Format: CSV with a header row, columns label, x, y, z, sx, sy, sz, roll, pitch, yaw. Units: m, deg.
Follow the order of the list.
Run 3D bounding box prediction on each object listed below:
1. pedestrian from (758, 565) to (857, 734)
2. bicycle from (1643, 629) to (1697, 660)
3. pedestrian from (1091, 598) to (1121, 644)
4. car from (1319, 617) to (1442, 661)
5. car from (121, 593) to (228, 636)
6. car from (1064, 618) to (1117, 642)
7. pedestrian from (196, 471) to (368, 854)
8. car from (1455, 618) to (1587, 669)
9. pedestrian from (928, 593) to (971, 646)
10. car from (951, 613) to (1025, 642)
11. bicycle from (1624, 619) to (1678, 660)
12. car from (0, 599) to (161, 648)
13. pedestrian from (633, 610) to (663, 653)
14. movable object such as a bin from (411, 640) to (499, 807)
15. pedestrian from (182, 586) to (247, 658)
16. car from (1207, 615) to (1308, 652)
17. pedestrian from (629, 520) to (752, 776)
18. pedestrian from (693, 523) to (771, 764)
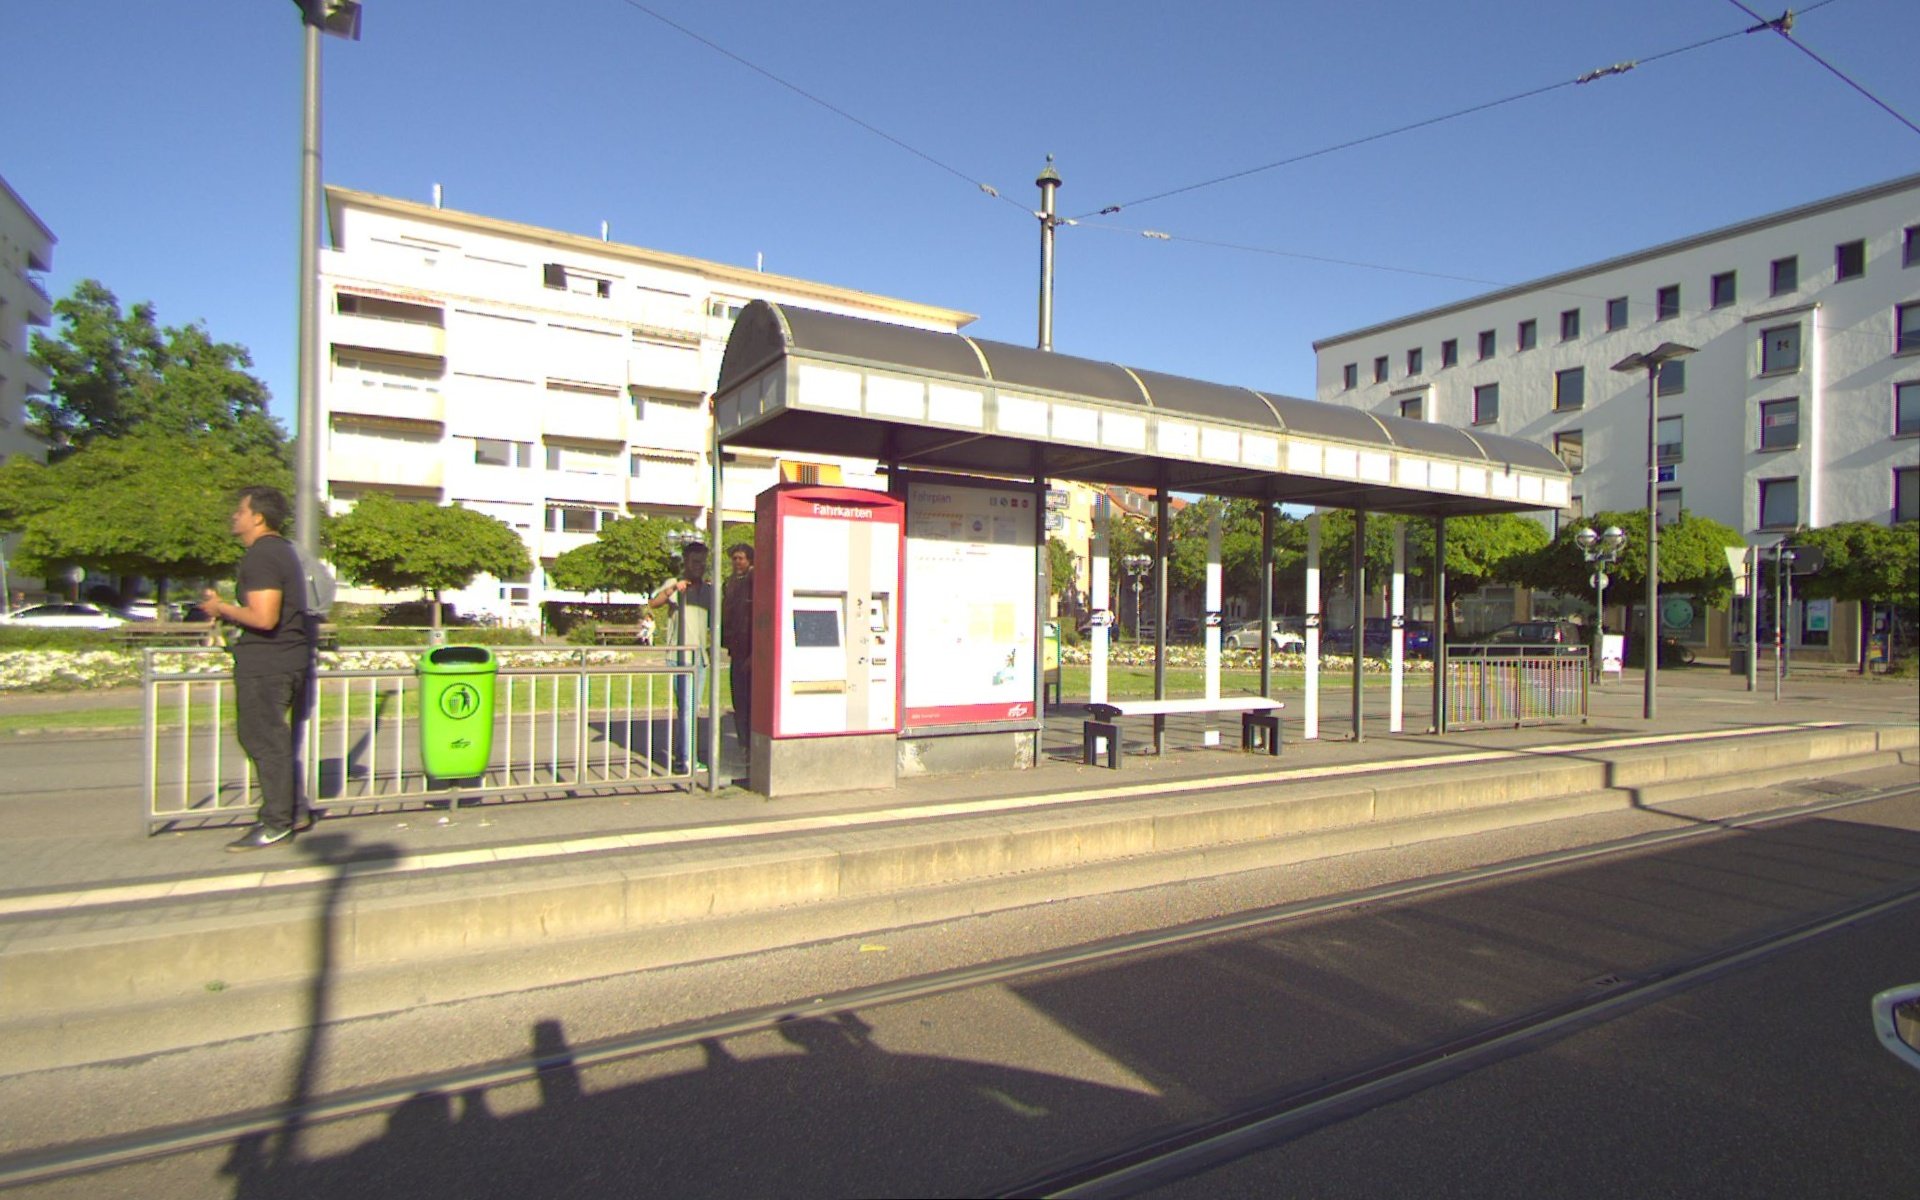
label,x,y,z,sx,sy,sz,roll,pitch,yaw
pedestrian,-1.633,0.512,10.671,0.979,1.702,0.972,0,-1,-12
bicycle,28.193,1.758,39.853,2.586,1.206,0.615,1,-1,-27
pedestrian,5.972,0.856,41.106,0.856,1.841,0.944,1,0,-19
car,17.848,1.626,42.822,1.978,1.684,4.581,1,-1,-31
car,-28.857,0.548,36.998,2.899,1.506,1.407,1,-1,-30
car,8.787,1.997,67.409,1.887,1.514,4.343,2,0,31
pedestrian,-3.307,0.296,4.952,0.599,1.740,0.546,1,-3,-28
car,21.050,1.600,37.833,1.804,1.728,3.968,1,-1,-30
pedestrian,-0.412,0.780,39.411,1.219,2.040,1.214,1,-1,-30
car,1.392,1.363,49.563,3.271,1.372,1.638,1,-1,-29
bicycle,27.868,1.604,40.497,2.585,1.628,0.616,1,-1,-26
car,-25.595,0.677,29.007,3.672,1.318,1.984,1,-1,-30
pedestrian,-10.408,1.044,33.497,0.673,1.378,1.042,1,-1,-34
movable object such as a bin,-2.787,0.665,5.553,0.411,0.871,0.335,1,-1,-27
pedestrian,-19.222,0.560,25.929,1.162,1.811,1.074,1,0,-28
car,14.128,1.568,47.940,1.835,1.628,4.581,1,-1,-31
pedestrian,-2.014,0.353,7.493,0.760,1.797,0.613,1,-3,-28
pedestrian,-1.851,0.350,8.144,0.519,1.883,0.426,1,-3,-27
